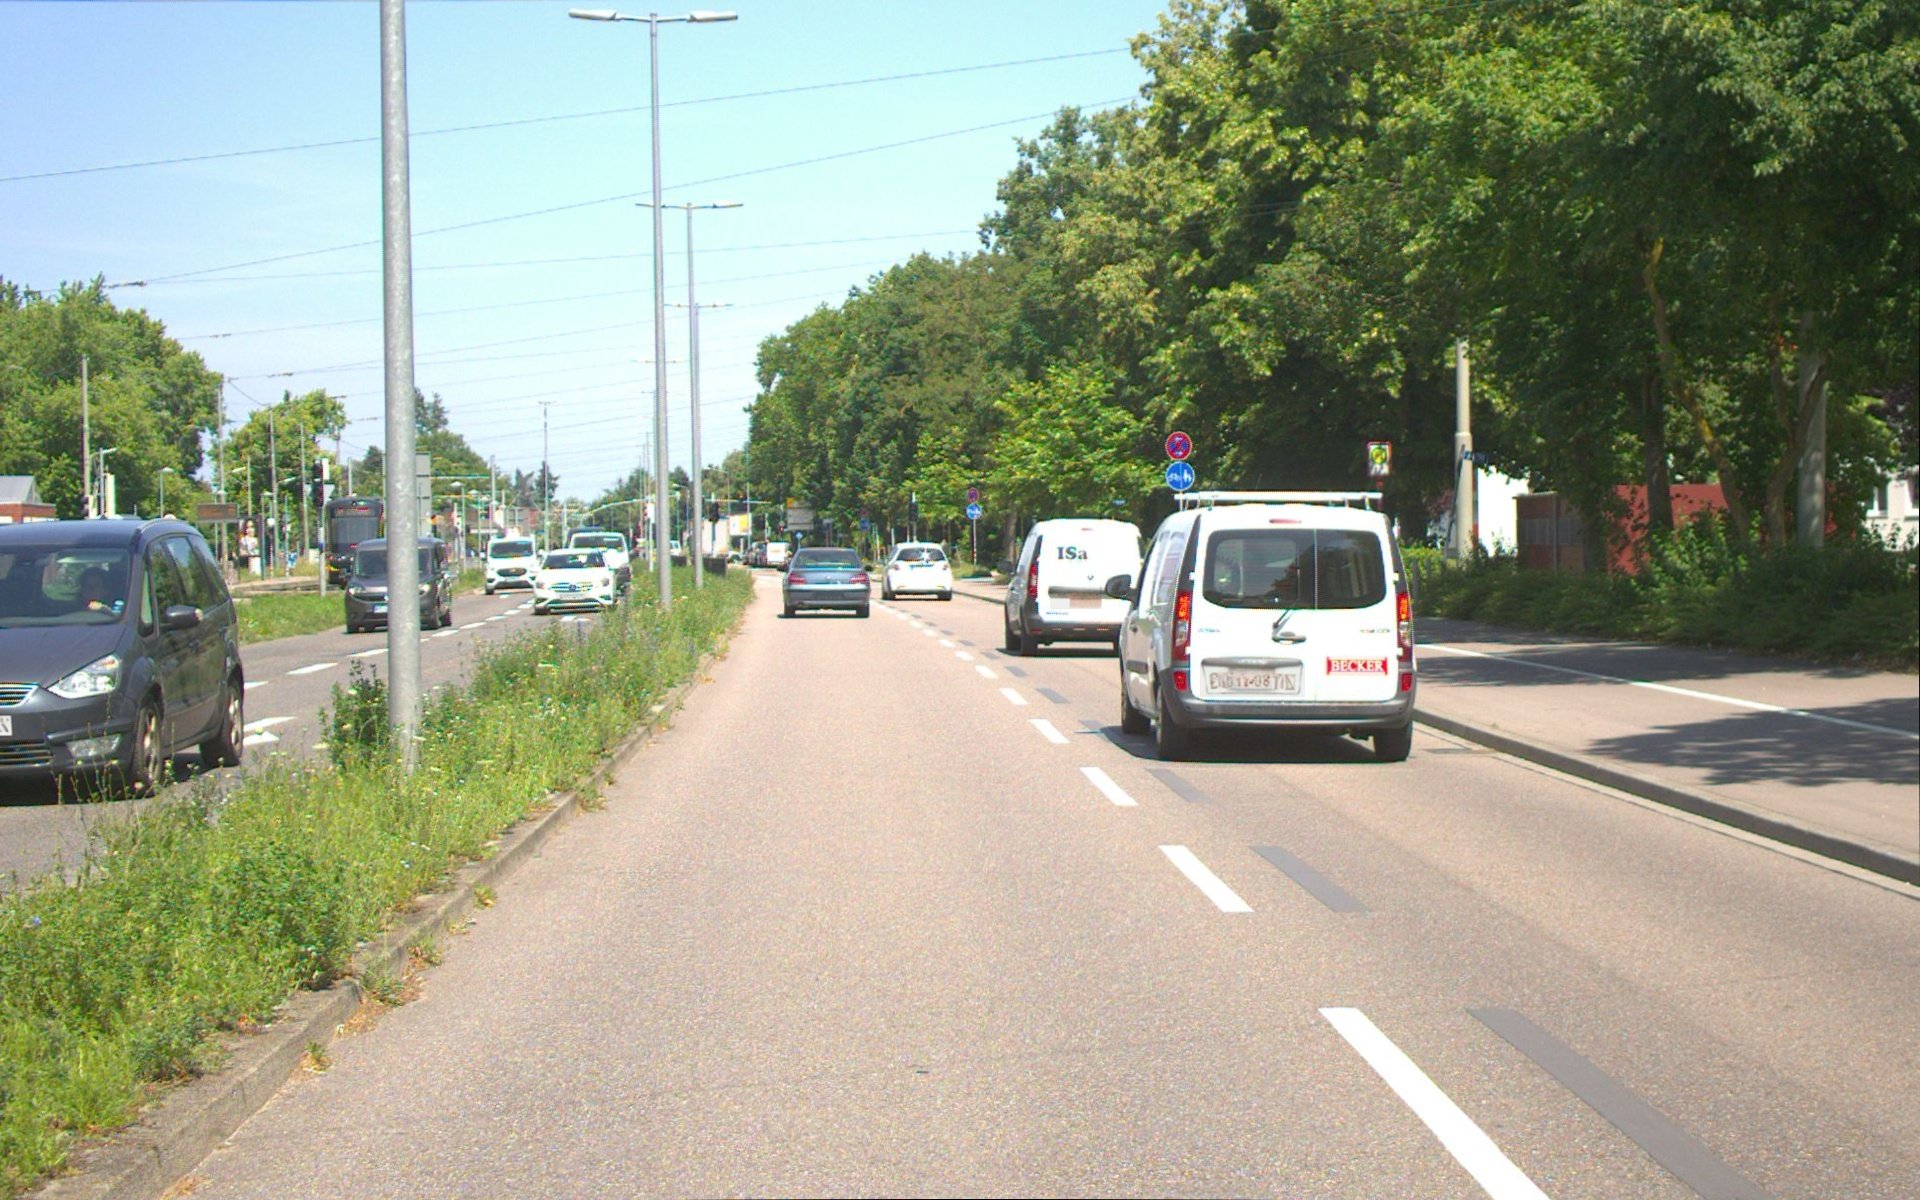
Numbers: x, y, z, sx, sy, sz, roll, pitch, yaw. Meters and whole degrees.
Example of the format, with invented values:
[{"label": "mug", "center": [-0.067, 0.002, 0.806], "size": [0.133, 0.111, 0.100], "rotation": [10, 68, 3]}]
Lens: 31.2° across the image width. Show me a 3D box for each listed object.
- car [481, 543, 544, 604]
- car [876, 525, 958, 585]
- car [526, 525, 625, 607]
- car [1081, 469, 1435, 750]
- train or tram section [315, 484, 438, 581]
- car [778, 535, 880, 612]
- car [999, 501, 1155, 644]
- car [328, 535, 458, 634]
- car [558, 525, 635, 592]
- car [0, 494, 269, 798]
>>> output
[{"label": "car", "center": [-15.999, -0.972, 123.051], "size": [1.888, 2.010, 5.083], "rotation": [-3, 1, -4]}, {"label": "car", "center": [-1.158, -1.197, 91.178], "size": [1.803, 1.534, 4.001], "rotation": [0, 1, -6]}, {"label": "car", "center": [-8.676, -0.785, 77.852], "size": [1.830, 1.733, 4.038], "rotation": [-2, 1, -2]}, {"label": "car", "center": [2.078, 0.030, 25.234], "size": [1.824, 1.875, 4.457], "rotation": [0, 1, -5]}, {"label": "train or tram section", "center": [-25.101, -2.847, 149.849], "size": [2.787, 3.655, 37.526], "rotation": [0, 1, -6]}, {"label": "car", "center": [-2.654, -0.544, 68.995], "size": [1.801, 1.481, 4.001], "rotation": [0, 1, -6]}, {"label": "car", "center": [1.516, -0.398, 45.889], "size": [1.727, 1.807, 4.001], "rotation": [0, 1, -3]}, {"label": "car", "center": [-11.030, -0.332, 67.148], "size": [1.830, 1.795, 4.615], "rotation": [-2, 1, -2]}, {"label": "car", "center": [-11.004, -1.279, 104.443], "size": [1.830, 1.900, 5.567], "rotation": [-2, 1, -2]}, {"label": "car", "center": [-5.793, 0.234, 21.980], "size": [1.829, 1.707, 4.794], "rotation": [-2, 1, -1]}]
